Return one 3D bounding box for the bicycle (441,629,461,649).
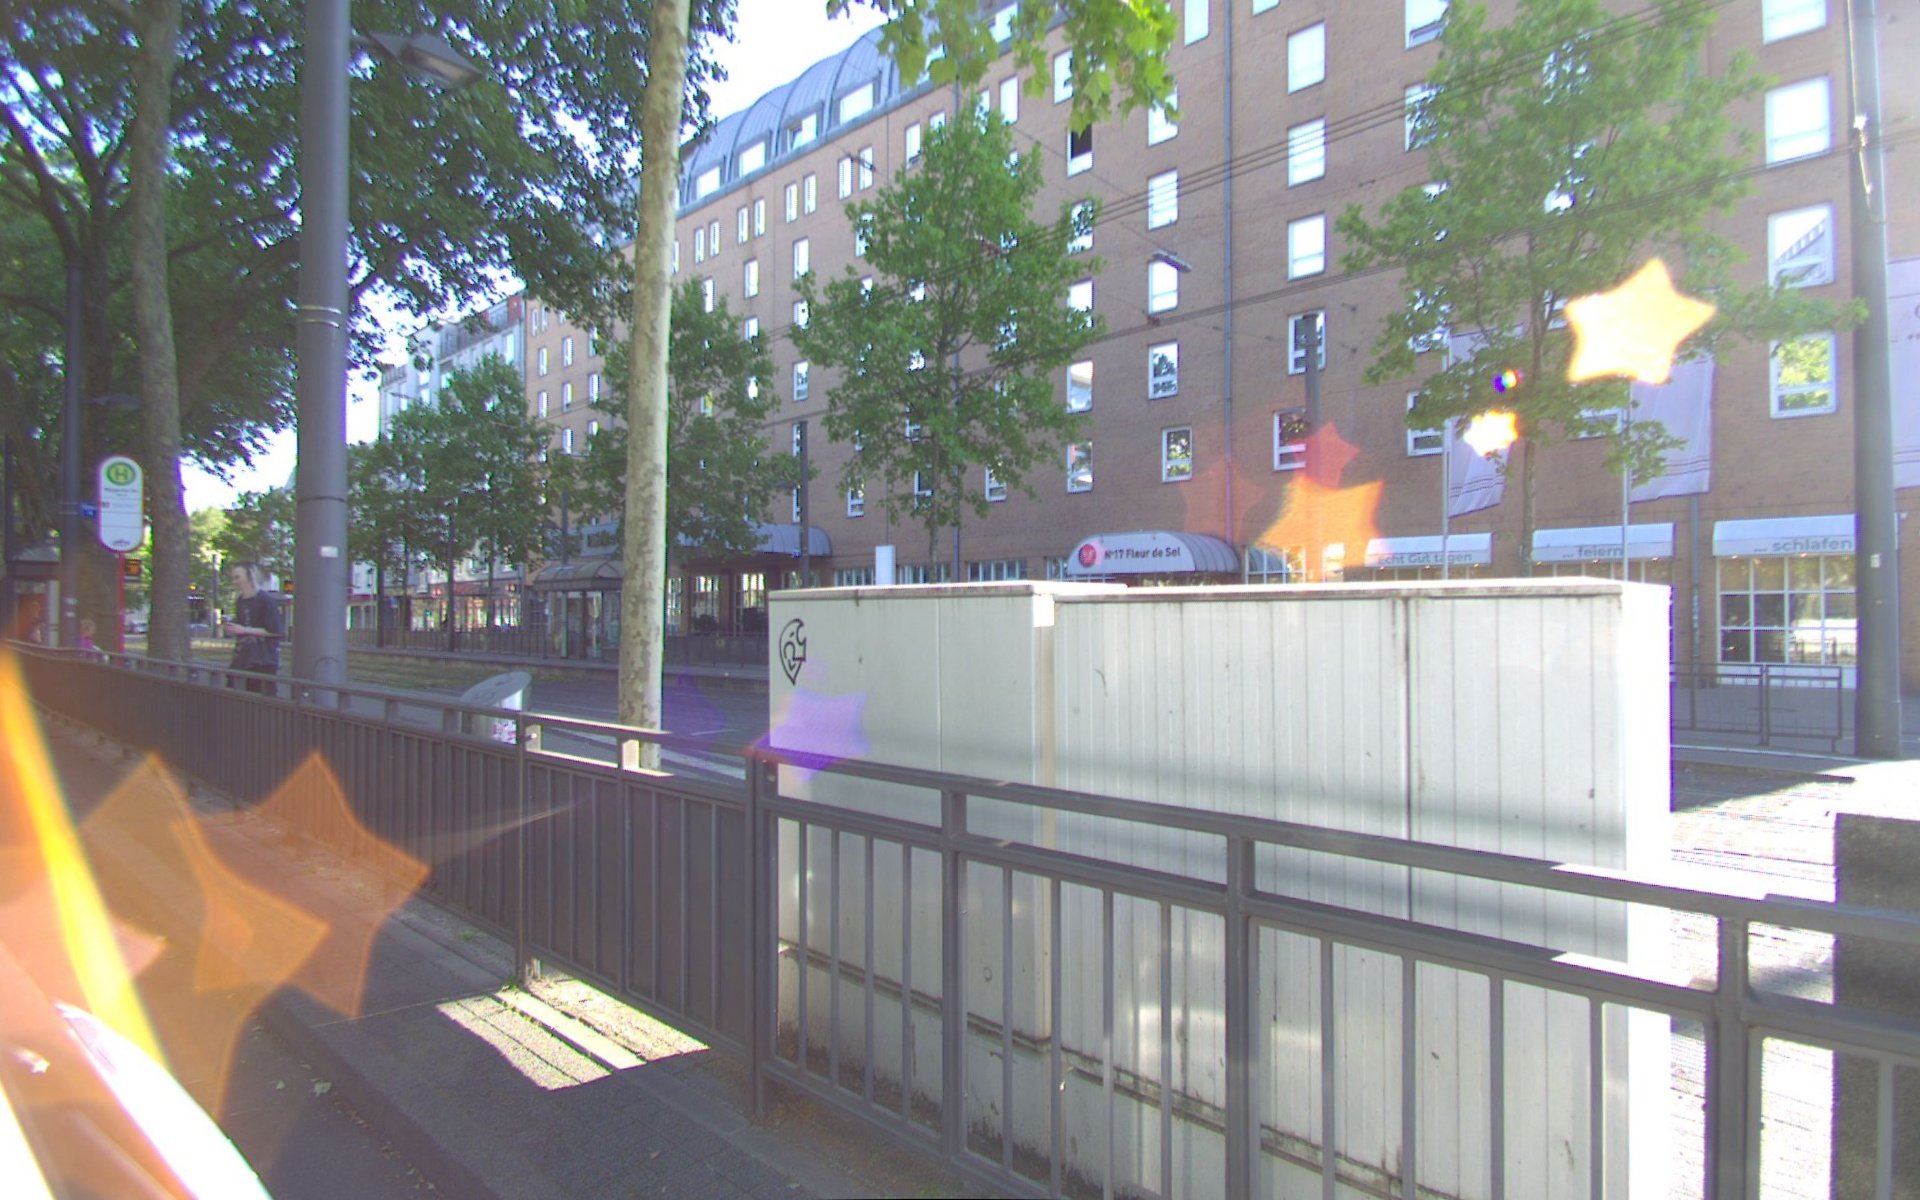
[{"bbox_3d":[-26.059,1.978,51.800,0.444,1.012,1.754,2,-2,-44],"label":"bicycle"}]

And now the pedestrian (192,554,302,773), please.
[{"bbox_3d":[-6.484,0.545,9.213,0.604,1.897,0.616,1,0,32],"label":"pedestrian"}]

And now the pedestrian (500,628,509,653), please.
[{"bbox_3d":[-27.744,2.454,61.676,0.431,1.532,0.660,1,-2,-27],"label":"pedestrian"}]

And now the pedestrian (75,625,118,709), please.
[{"bbox_3d":[-13.946,1.063,16.350,0.493,1.325,0.419,1,-2,-41],"label":"pedestrian"}]

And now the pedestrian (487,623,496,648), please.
[{"bbox_3d":[-28.447,2.167,61.487,0.431,1.518,0.660,1,-2,-27],"label":"pedestrian"}]

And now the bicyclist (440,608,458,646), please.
[{"bbox_3d":[-26.171,1.377,51.824,0.564,1.918,0.814,2,-2,-43],"label":"bicyclist"}]

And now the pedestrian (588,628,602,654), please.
[{"bbox_3d":[-20.019,2.253,55.517,0.516,1.447,0.512,-2,-2,44],"label":"pedestrian"}]
